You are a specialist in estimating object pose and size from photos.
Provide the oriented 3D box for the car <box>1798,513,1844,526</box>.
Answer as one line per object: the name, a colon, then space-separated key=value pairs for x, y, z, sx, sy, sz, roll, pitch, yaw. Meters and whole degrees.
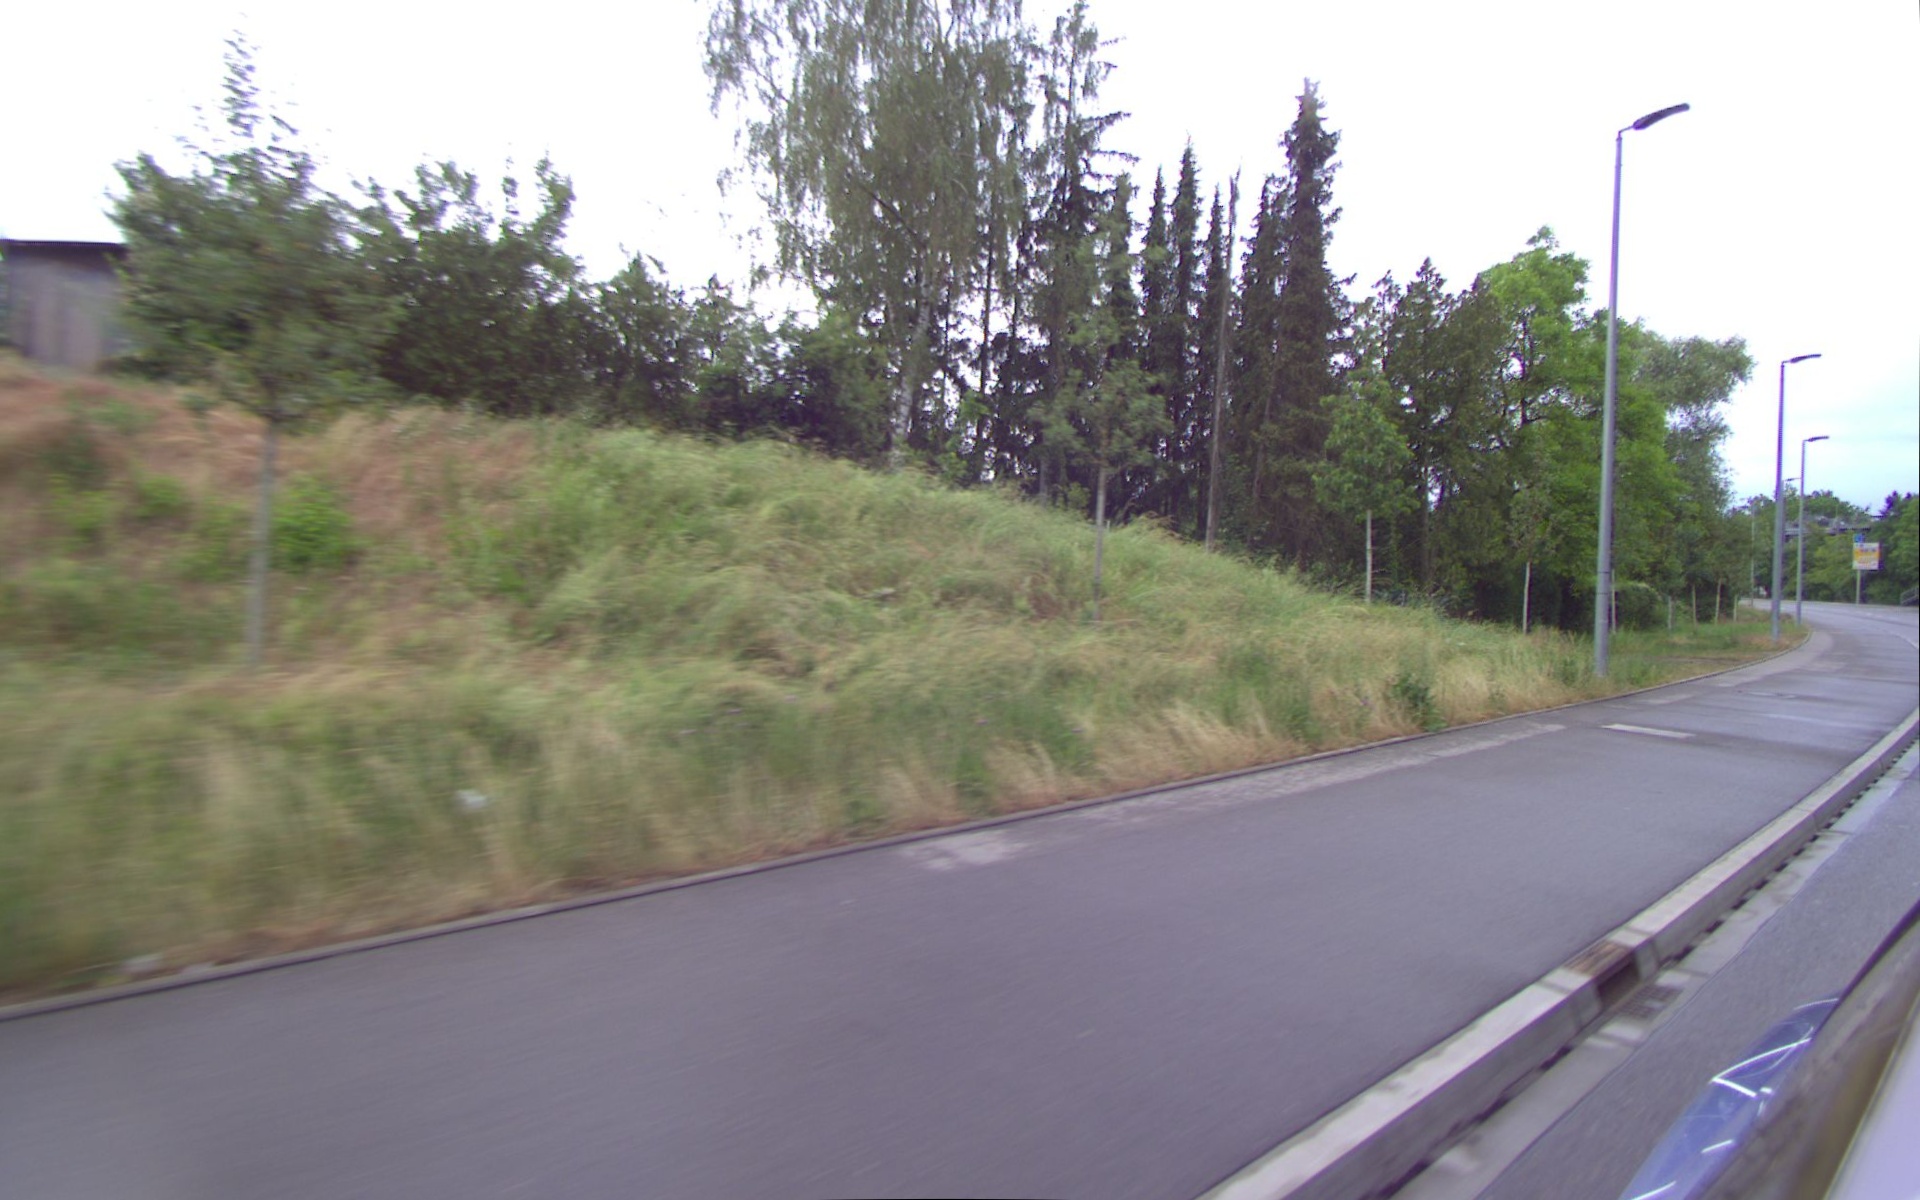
car: x=107.338 y=-9.990 z=126.185 sx=1.963 sy=1.537 sz=3.999 roll=0 pitch=3 yaw=-38

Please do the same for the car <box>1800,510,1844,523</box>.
car: x=110.065 y=-10.643 z=129.247 sx=1.963 sy=1.537 sz=3.999 roll=0 pitch=3 yaw=-38
